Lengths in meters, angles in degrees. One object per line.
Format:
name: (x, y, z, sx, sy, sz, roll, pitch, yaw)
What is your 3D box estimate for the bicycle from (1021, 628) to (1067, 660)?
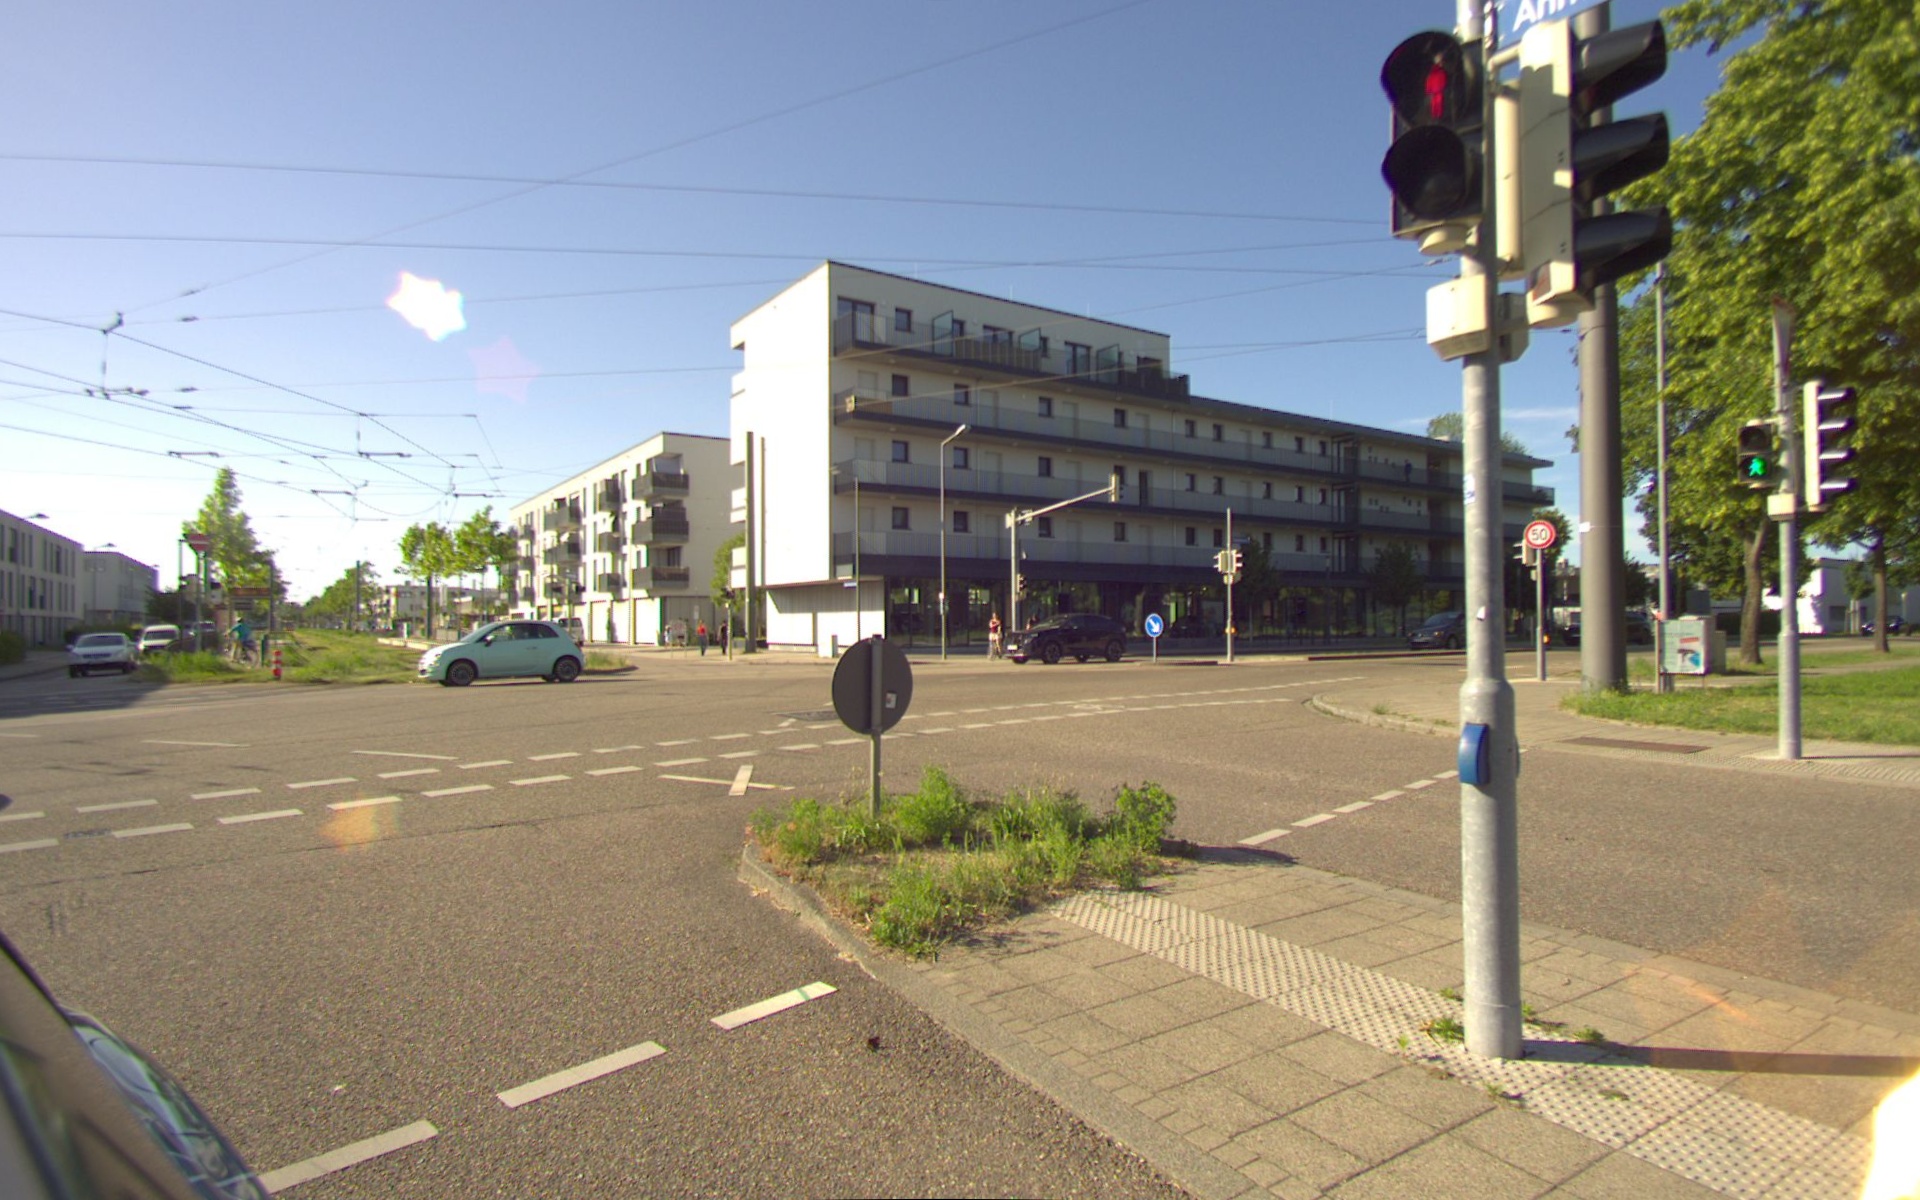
bicycle: (3.136, 1.640, 37.815, 0.734, 1.152, 1.644, 1, -2, -45)

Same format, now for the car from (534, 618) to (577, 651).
car: (-26.890, 2.273, 67.148, 1.966, 2.029, 4.012, 0, 0, -32)

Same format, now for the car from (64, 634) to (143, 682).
car: (-32.809, 2.182, 38.871, 1.976, 1.678, 4.009, 0, -2, -36)

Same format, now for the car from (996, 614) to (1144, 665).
car: (3.644, 1.251, 33.289, 4.661, 1.546, 1.979, 0, -2, -34)

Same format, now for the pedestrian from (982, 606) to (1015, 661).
pedestrian: (1.432, 1.239, 37.814, 0.748, 2.029, 0.982, 0, -2, -38)

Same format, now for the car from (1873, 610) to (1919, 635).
car: (59.670, 1.419, 64.155, 3.933, 1.546, 1.688, 0, -2, -34)

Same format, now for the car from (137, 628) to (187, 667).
car: (-43.751, 2.584, 55.539, 1.967, 2.029, 4.009, 0, -2, -36)

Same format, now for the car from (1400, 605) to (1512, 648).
car: (19.576, 1.032, 39.974, 3.931, 1.583, 2.006, 0, -2, -28)

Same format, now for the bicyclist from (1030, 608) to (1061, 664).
bicyclist: (3.181, 1.334, 37.772, 0.795, 2.029, 0.799, -3, -2, 45)

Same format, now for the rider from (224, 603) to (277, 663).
rider: (-24.286, 1.113, 34.658, 1.183, 2.029, 0.940, 1, 0, 15)

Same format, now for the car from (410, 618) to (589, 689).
car: (-10.735, 1.230, 23.609, 3.485, 1.498, 2.005, 0, -4, -36)

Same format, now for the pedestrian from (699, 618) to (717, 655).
pedestrian: (-11.940, 1.722, 48.006, 0.739, 1.699, 0.577, 1, 0, -21)

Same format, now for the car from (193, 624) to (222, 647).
car: (-68.040, 3.190, 91.483, 1.968, 2.029, 4.008, 0, -2, -38)

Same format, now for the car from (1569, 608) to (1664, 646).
car: (31.958, 1.292, 49.223, 5.112, 1.751, 2.005, 0, -2, -34)

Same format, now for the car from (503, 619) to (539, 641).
car: (-35.082, 2.375, 80.855, 1.966, 1.565, 4.011, 0, 0, -33)
